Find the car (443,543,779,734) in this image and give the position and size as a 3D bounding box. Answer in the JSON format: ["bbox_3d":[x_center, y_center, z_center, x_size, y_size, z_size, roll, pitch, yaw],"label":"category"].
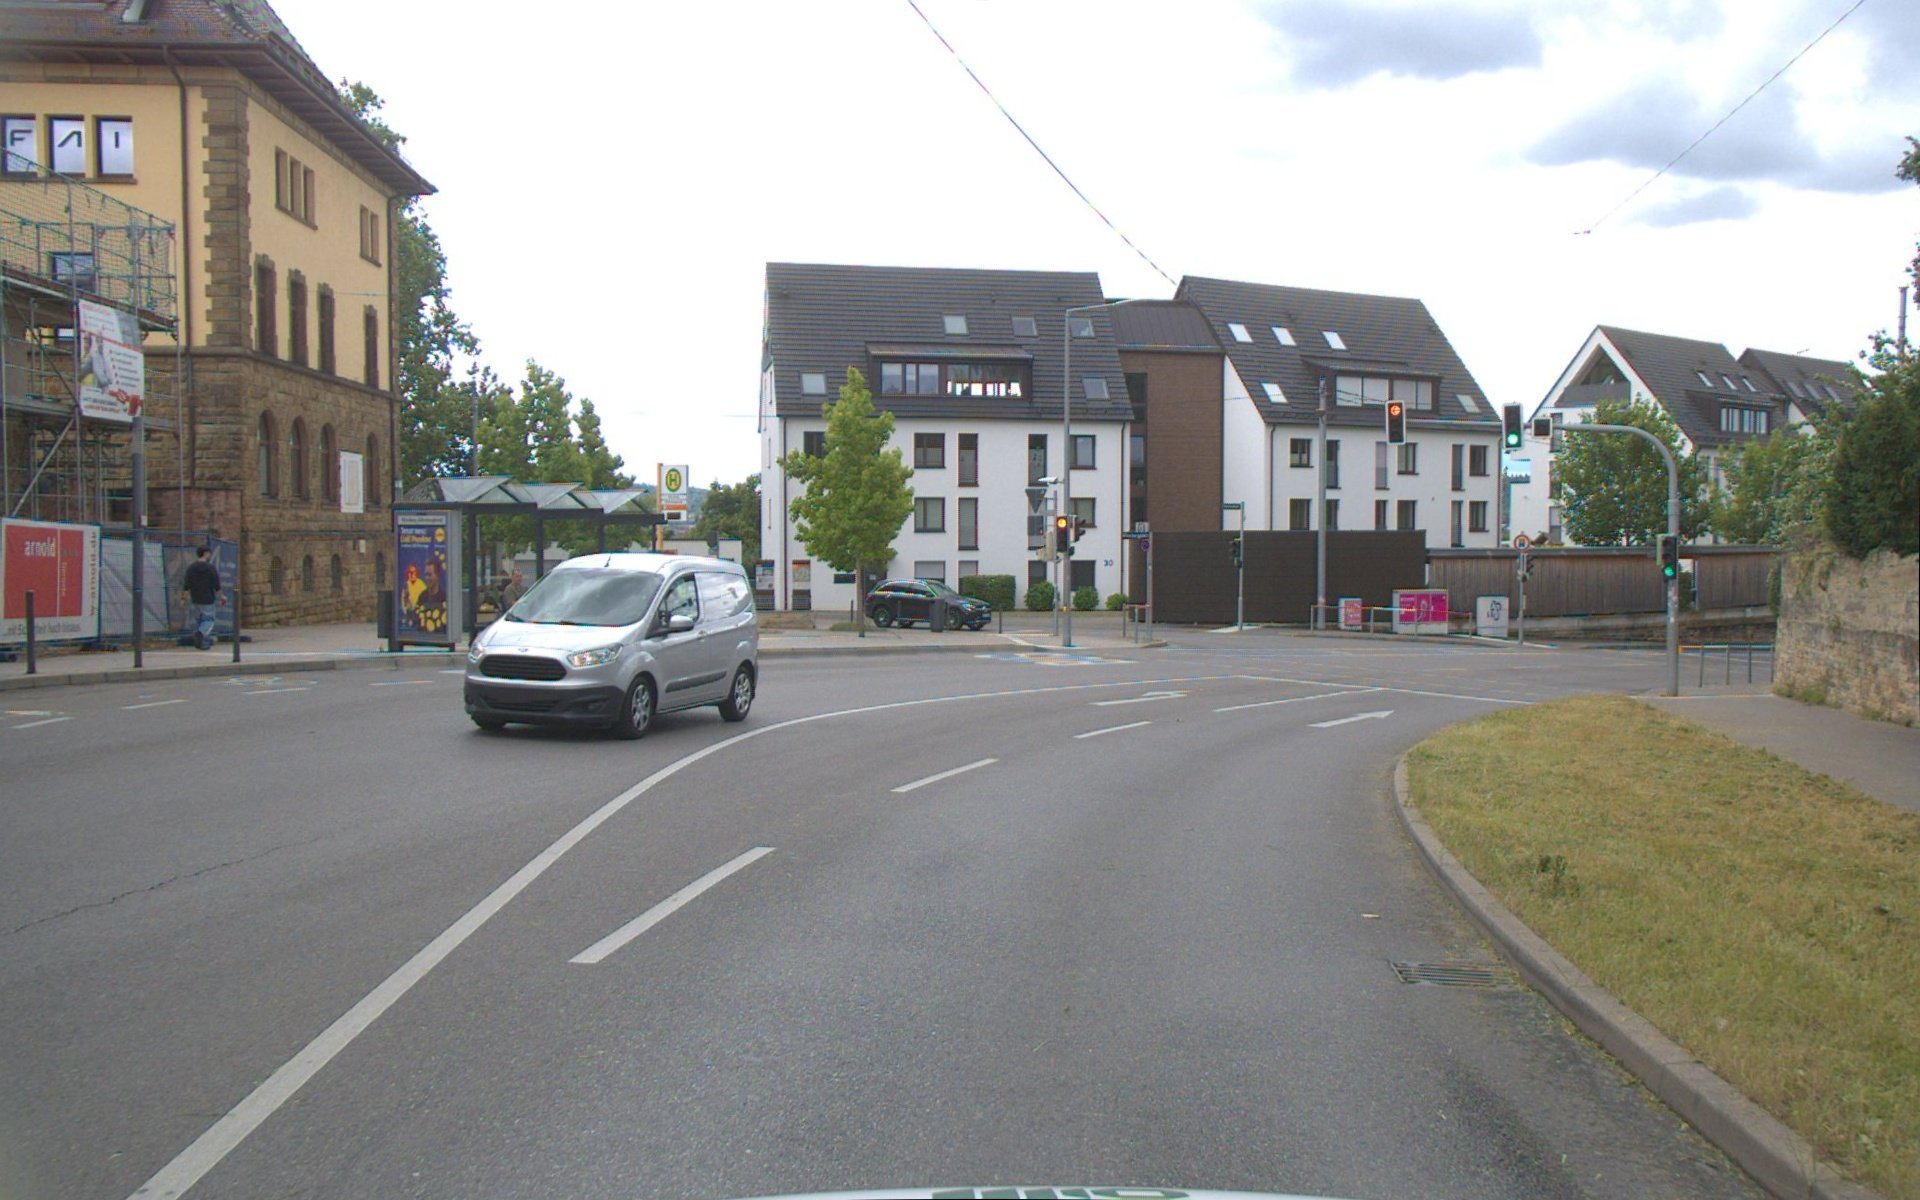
[{"bbox_3d":[-3.349,0.348,16.732,1.656,1.642,4.086,2,0,14],"label":"car"}]

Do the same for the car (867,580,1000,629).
[{"bbox_3d":[-0.924,0.151,57.503,4.179,1.539,1.997,2,0,29],"label":"car"}]

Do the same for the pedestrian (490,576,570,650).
[{"bbox_3d":[-7.301,0.216,28.107,0.914,1.213,0.905,2,0,24],"label":"pedestrian"}]

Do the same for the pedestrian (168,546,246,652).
[{"bbox_3d":[-12.817,-0.021,28.167,0.904,1.750,0.798,2,0,-1],"label":"pedestrian"}]

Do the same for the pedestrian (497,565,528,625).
[{"bbox_3d":[-12.183,-0.136,45.005,0.526,1.605,0.654,2,0,11],"label":"pedestrian"}]

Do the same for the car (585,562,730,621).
[{"bbox_3d":[-11.423,-0.321,62.555,4.966,2.049,2.002,2,0,12],"label":"car"}]
